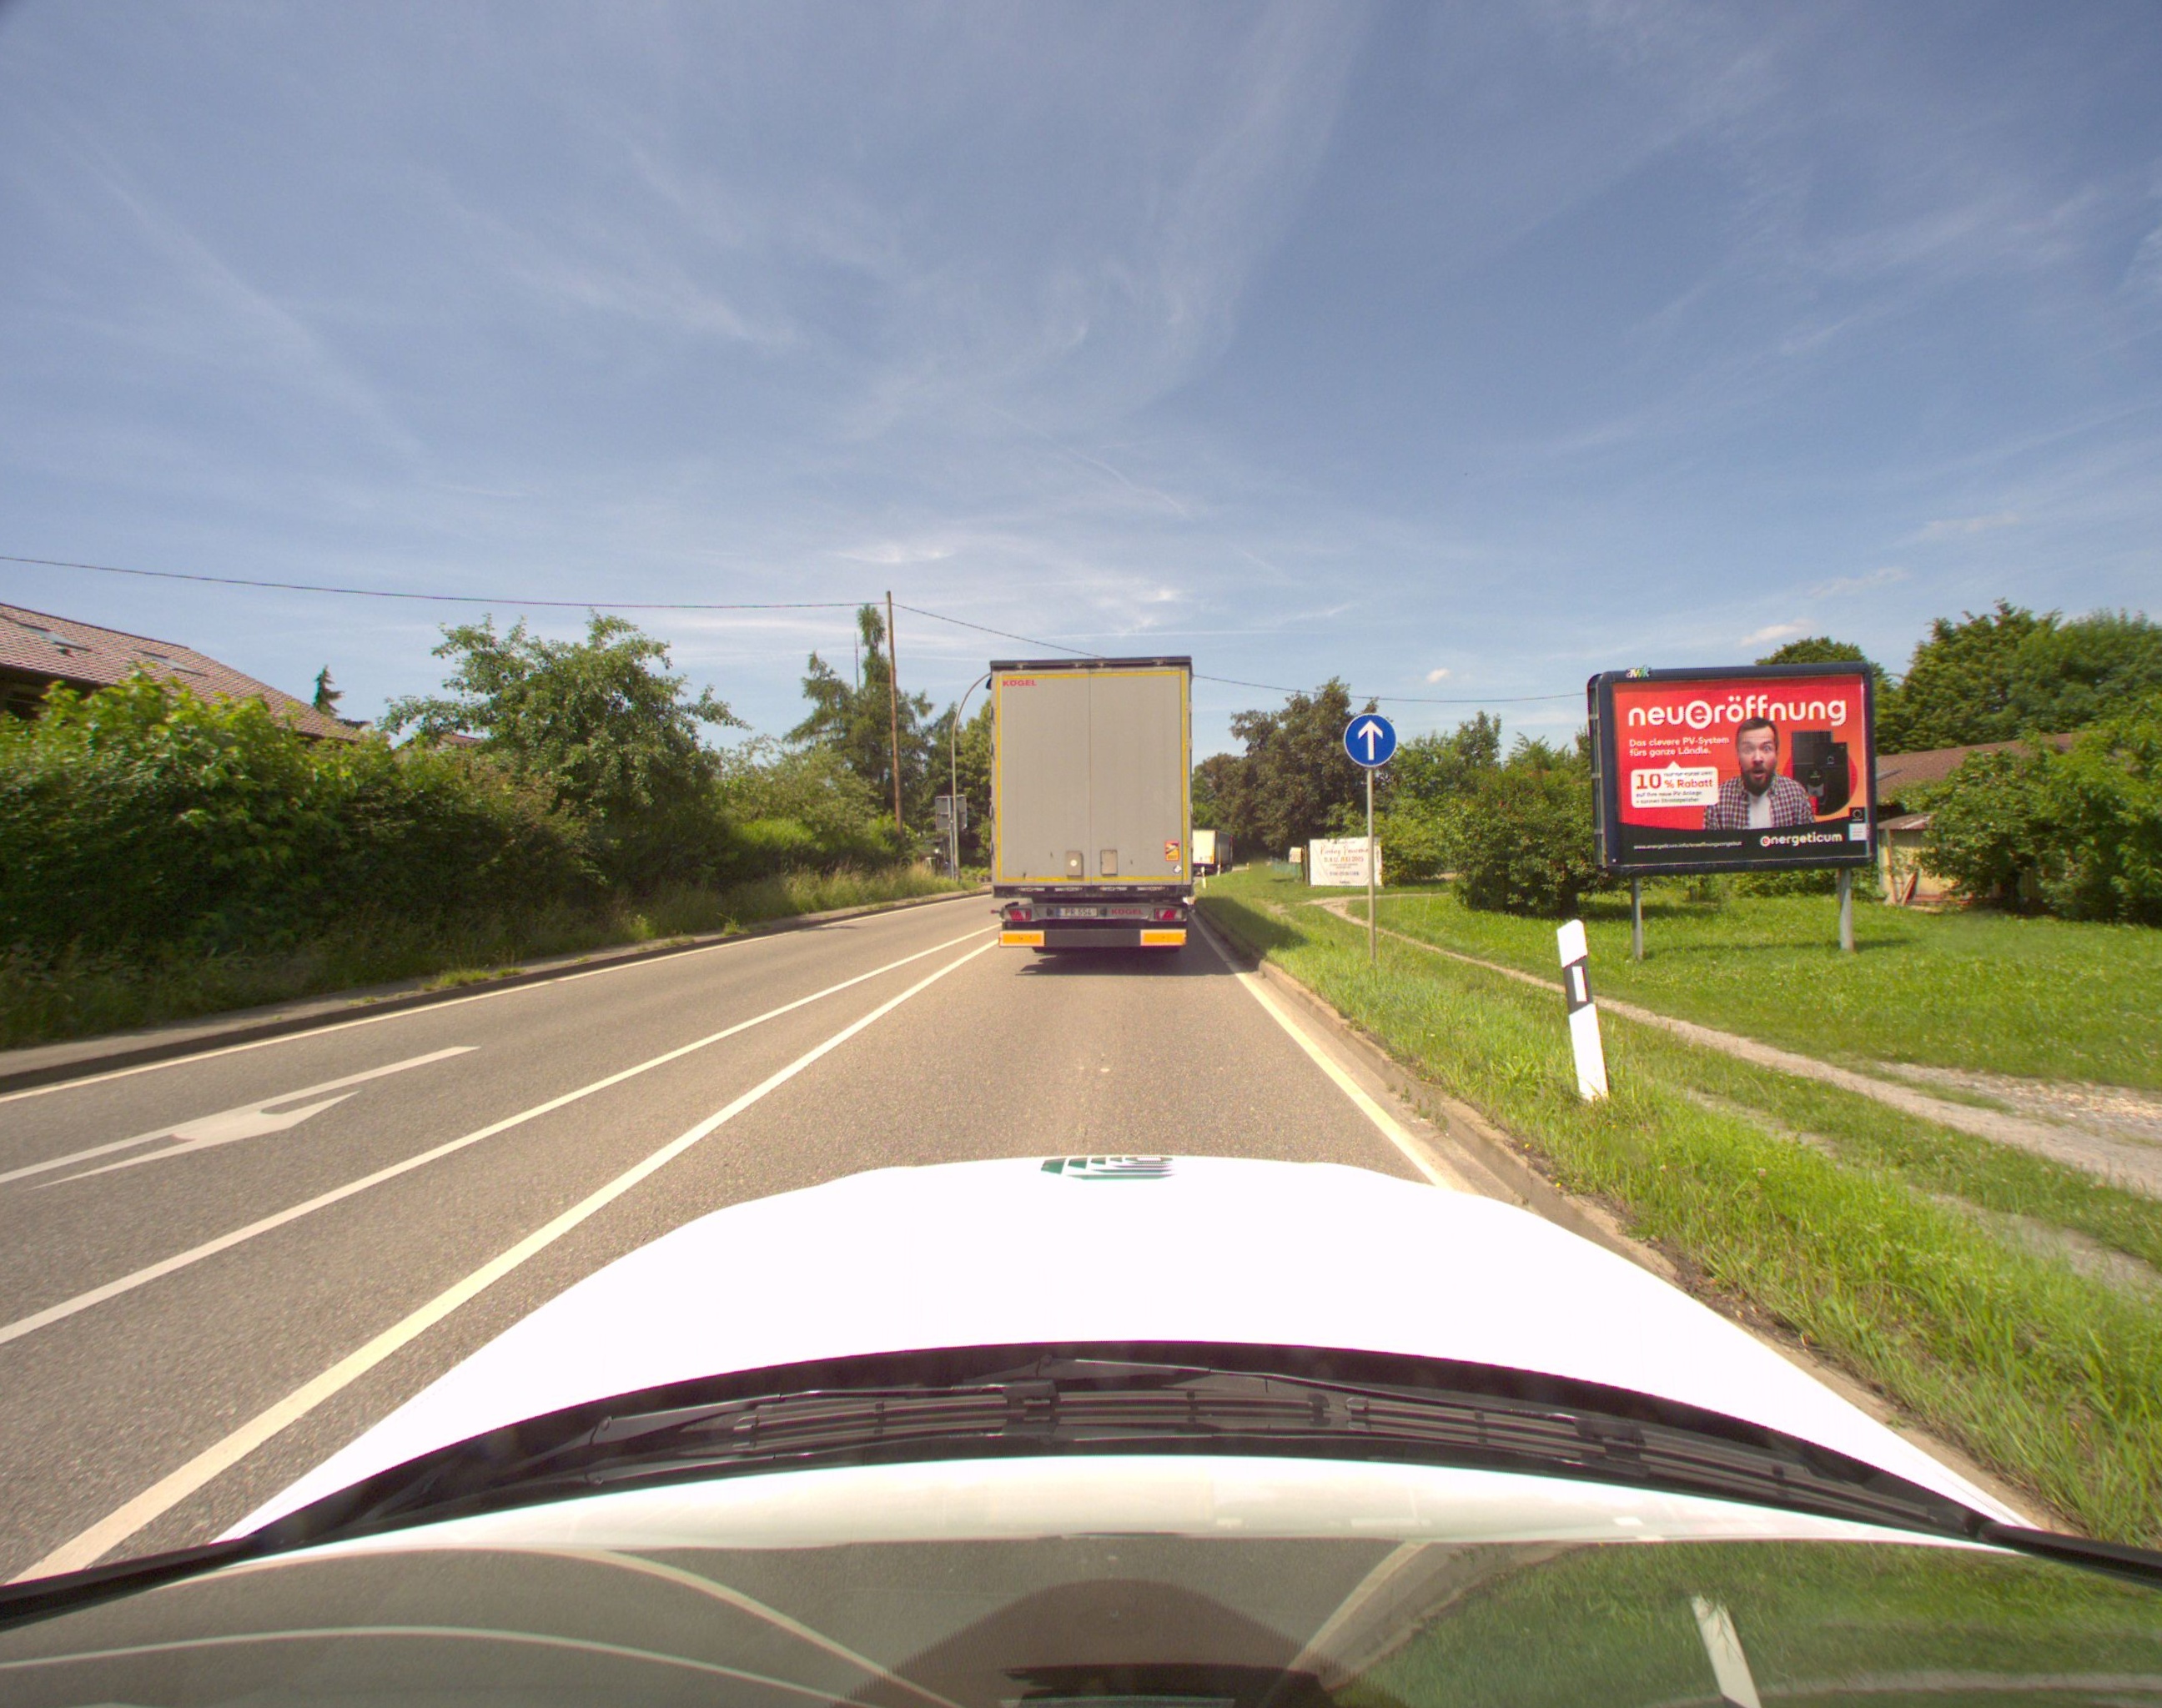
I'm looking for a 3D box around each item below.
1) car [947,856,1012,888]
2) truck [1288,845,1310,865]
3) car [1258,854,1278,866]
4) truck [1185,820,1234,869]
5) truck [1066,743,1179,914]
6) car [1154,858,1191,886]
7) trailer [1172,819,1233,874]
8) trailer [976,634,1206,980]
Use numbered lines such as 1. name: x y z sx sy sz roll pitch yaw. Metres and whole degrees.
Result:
1. car: -6.779 1.171 54.104 4.073 2.013 1.991 -1 0 -13
2. truck: 32.782 0.172 122.404 2.399 2.838 5.443 -1 0 24
3. car: 25.558 0.828 111.258 1.825 1.486 4.022 -1 0 23
4. truck: 12.896 -0.909 81.151 3.907 4.574 7.181 -1 0 15
5. truck: 1.314 -0.640 23.175 2.732 4.165 6.152 -1 0 6
6. car: 5.533 1.044 48.970 1.982 1.530 4.010 -1 0 9
7. trailer: 11.301 -0.607 74.565 3.862 4.521 12.766 -1 0 16
8. trailer: 0.647 -0.607 16.078 2.773 4.205 12.128 -1 0 5
